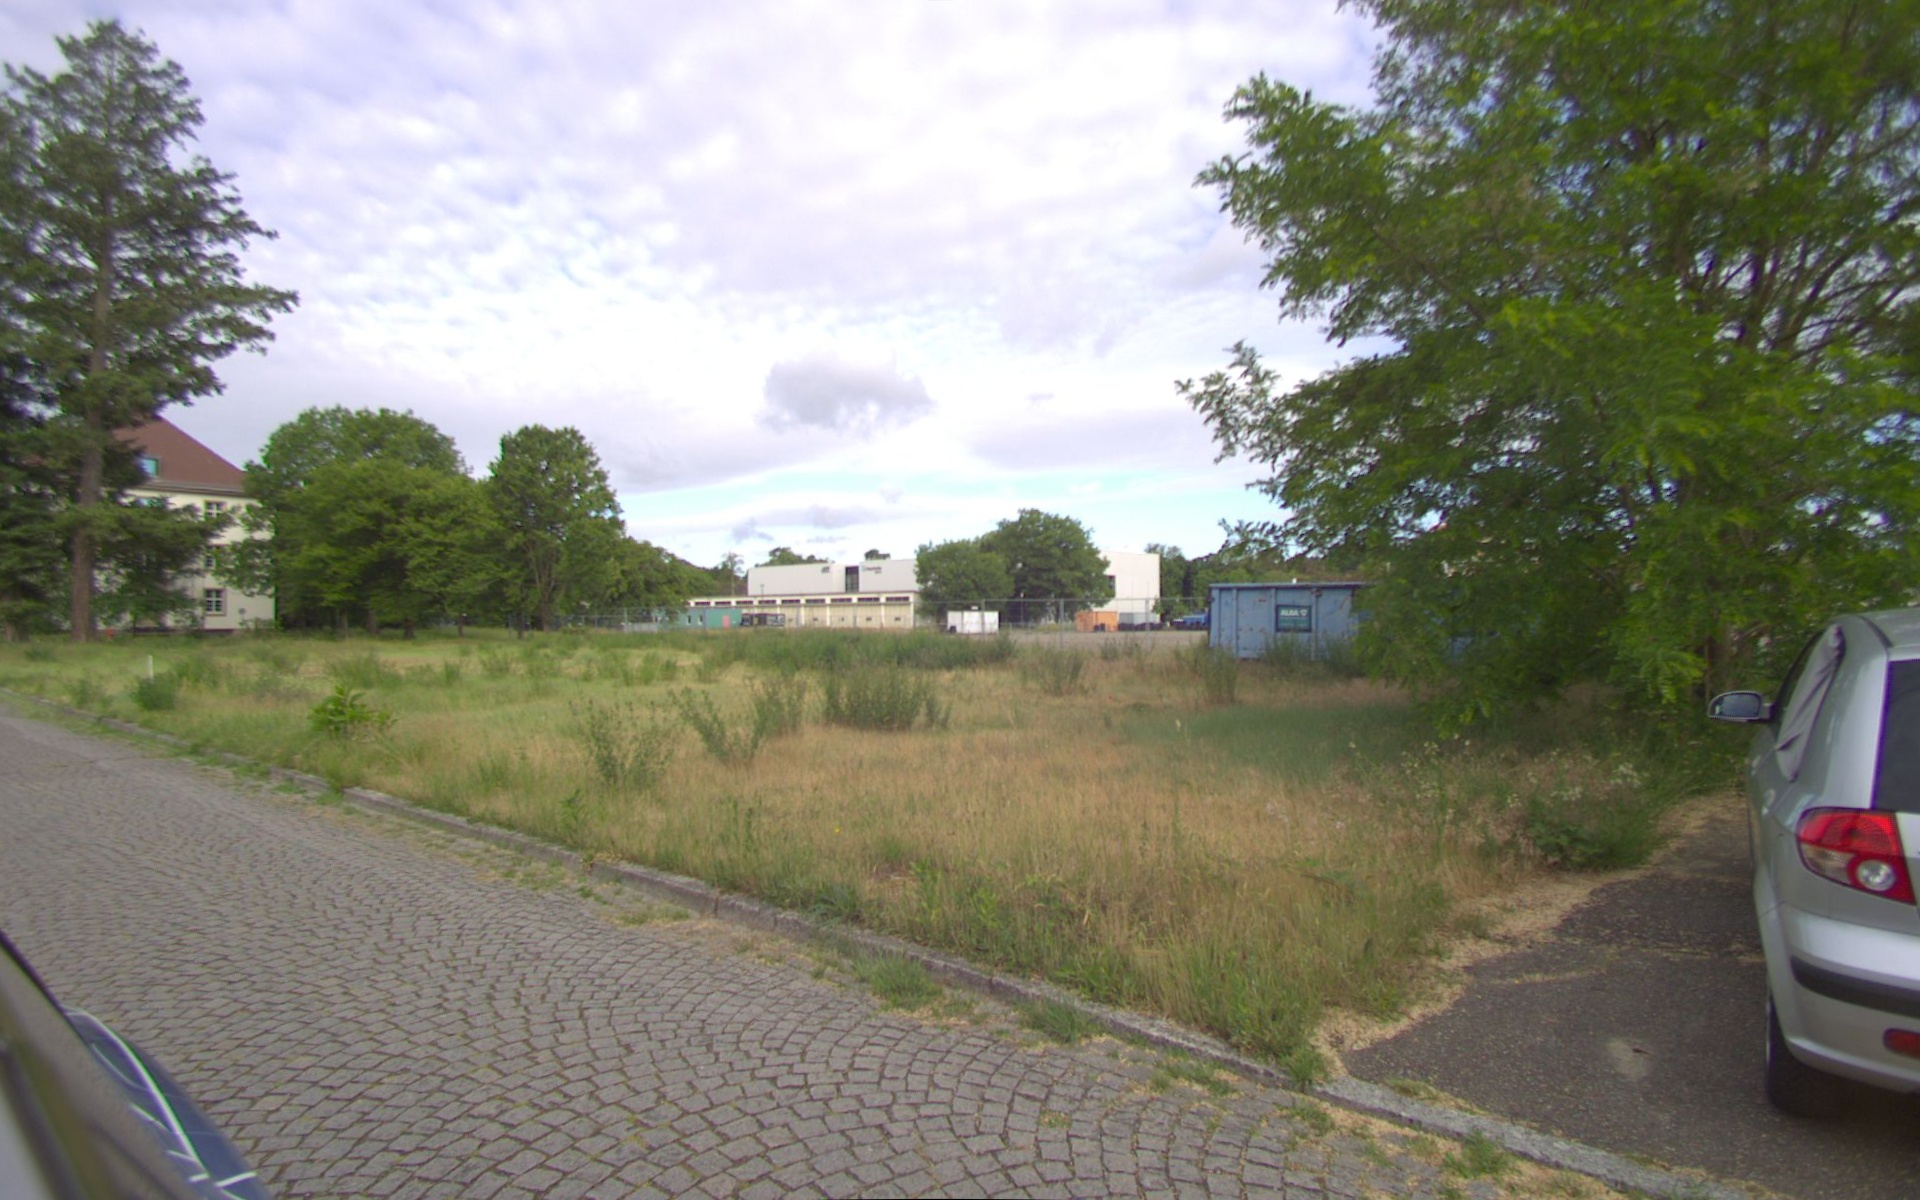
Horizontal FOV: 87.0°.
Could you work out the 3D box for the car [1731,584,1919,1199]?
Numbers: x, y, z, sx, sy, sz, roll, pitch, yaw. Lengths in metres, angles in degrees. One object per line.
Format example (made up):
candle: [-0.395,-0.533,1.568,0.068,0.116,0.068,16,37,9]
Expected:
car: [3.889,0.701,3.503,1.805,1.463,3.646,-1,1,36]
